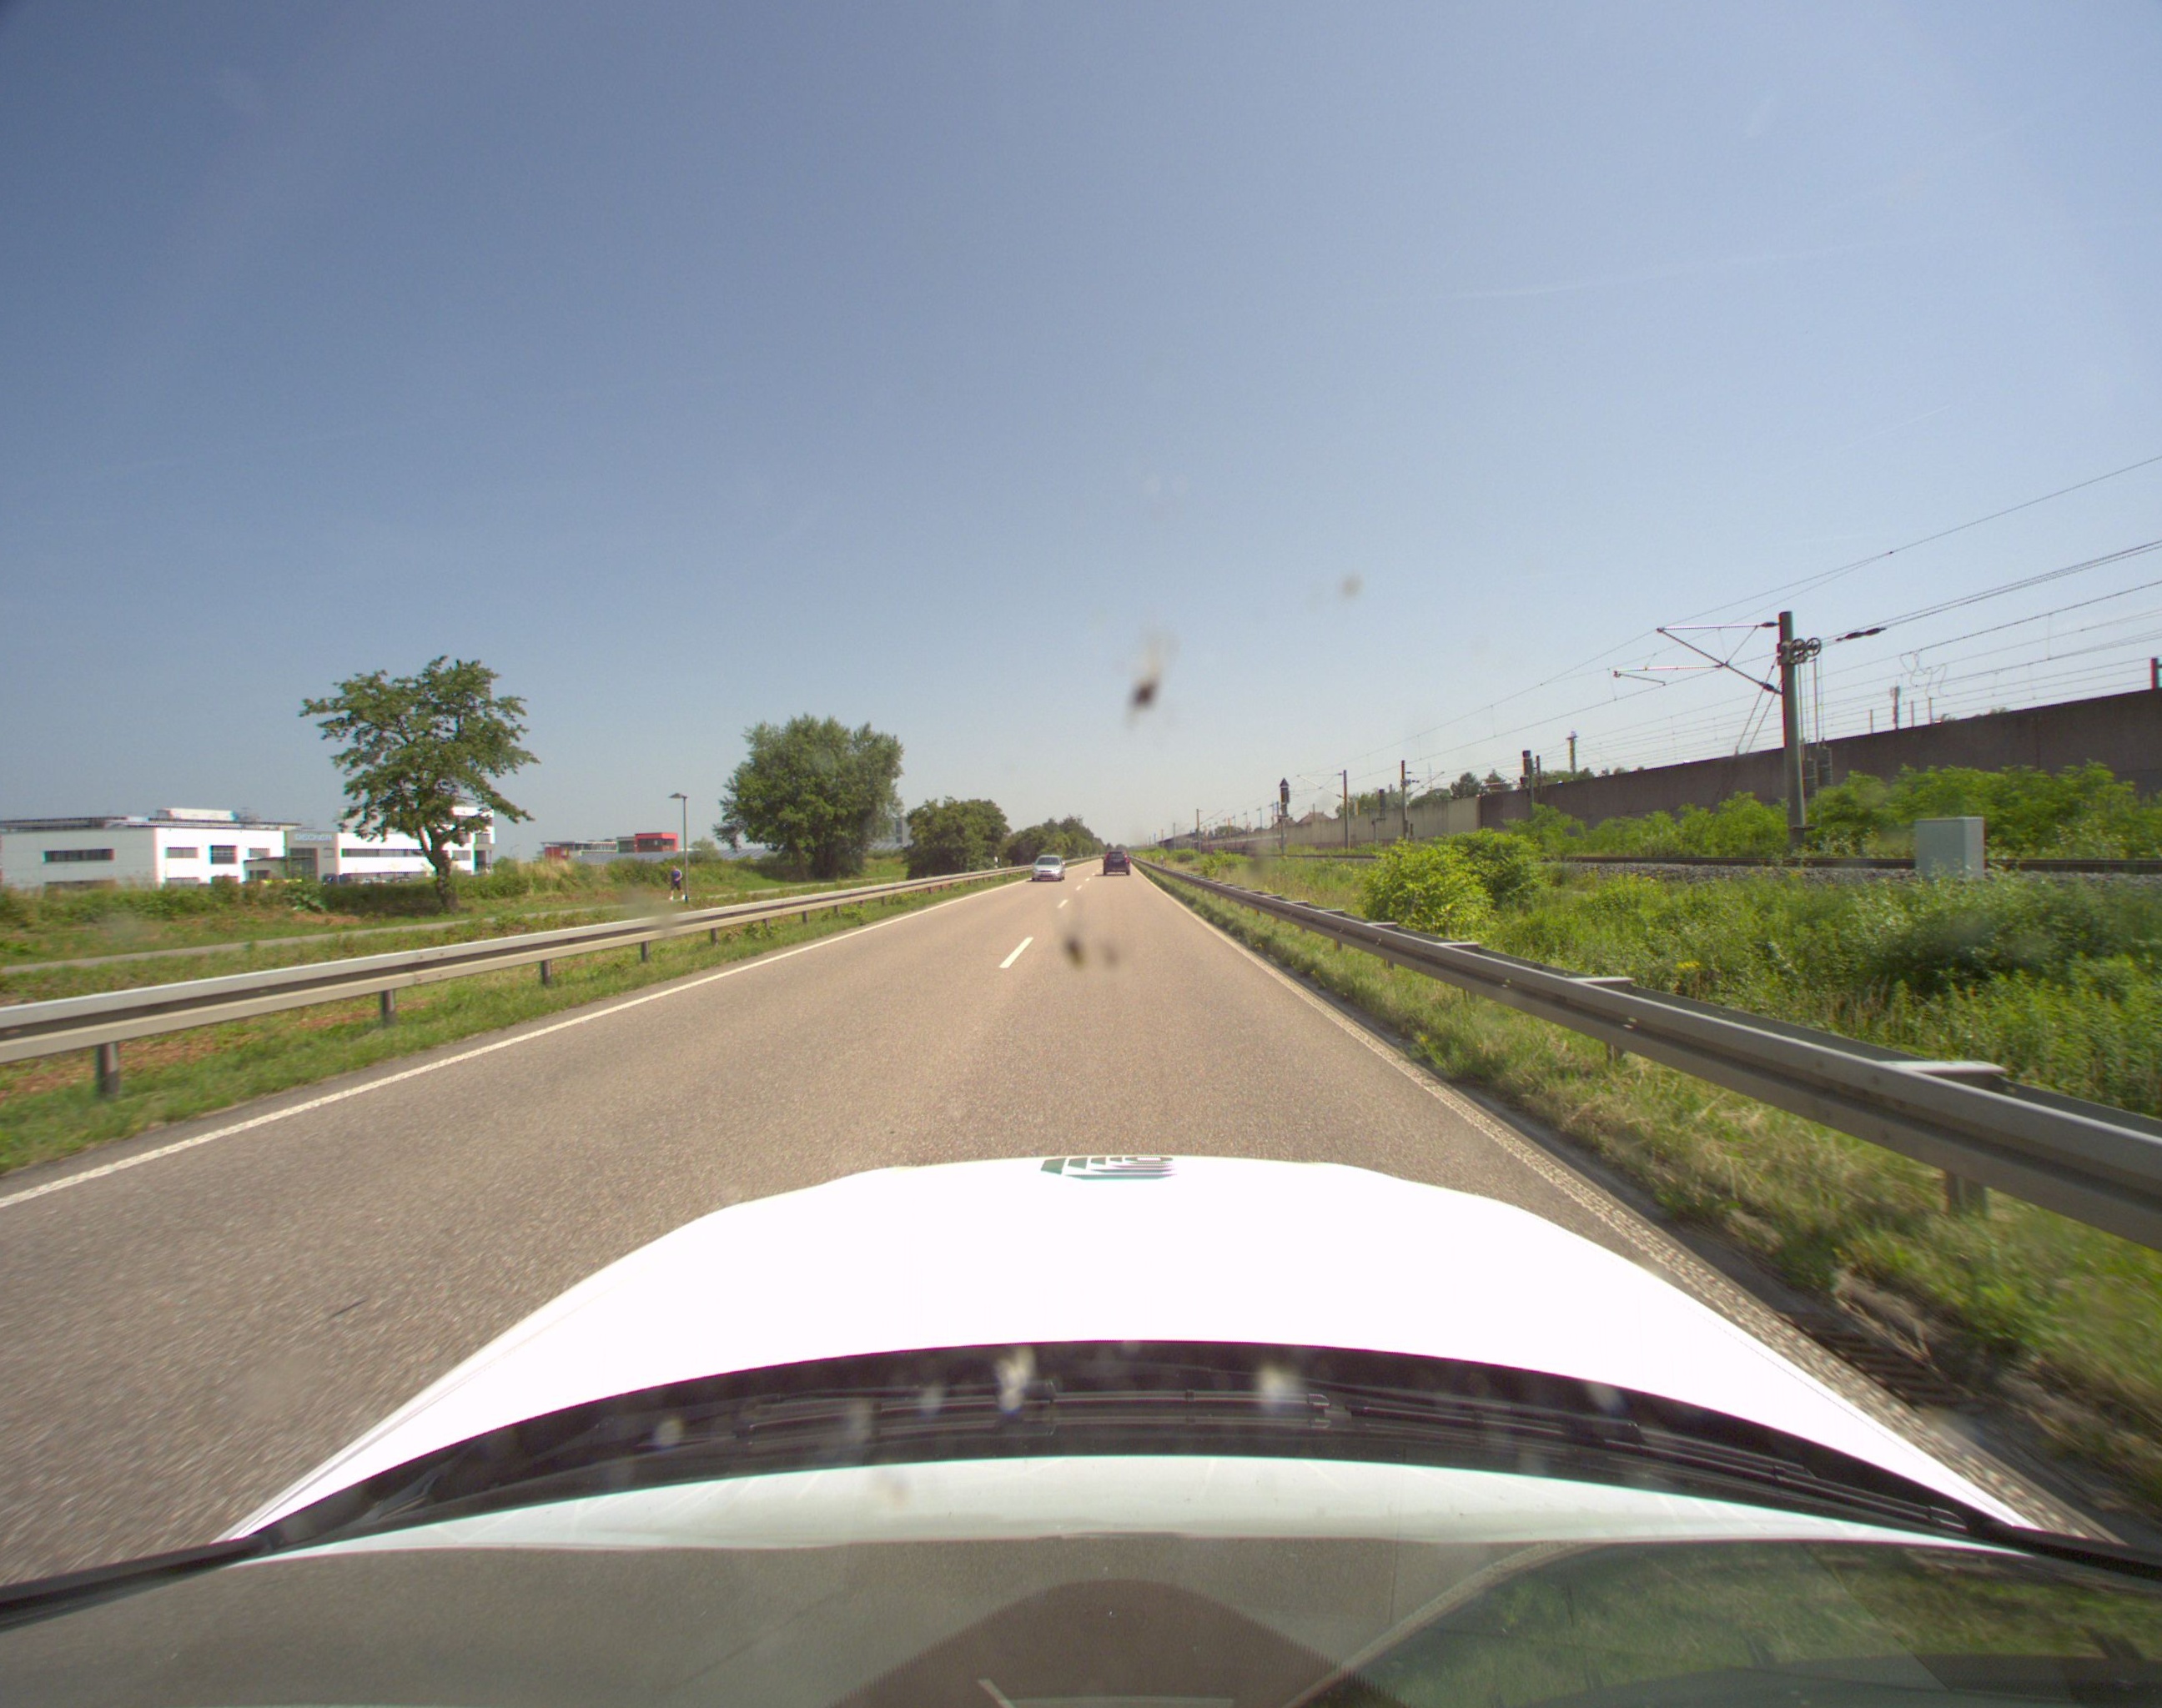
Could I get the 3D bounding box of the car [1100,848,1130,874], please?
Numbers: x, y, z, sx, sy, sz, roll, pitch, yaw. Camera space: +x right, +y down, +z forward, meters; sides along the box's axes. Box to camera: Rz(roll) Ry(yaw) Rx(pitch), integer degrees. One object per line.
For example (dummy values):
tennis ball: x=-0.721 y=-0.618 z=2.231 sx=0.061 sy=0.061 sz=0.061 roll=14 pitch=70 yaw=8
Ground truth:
car: x=2.368 y=0.497 z=57.445 sx=1.987 sy=1.700 sz=4.000 roll=-1 pitch=0 yaw=0

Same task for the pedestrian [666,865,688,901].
pedestrian: x=-20.481 y=1.466 z=41.326 sx=0.576 sy=1.750 sz=0.822 roll=-3 pitch=0 yaw=7

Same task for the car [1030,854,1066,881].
car: x=-1.871 y=0.733 z=47.389 sx=1.691 sy=1.474 sz=4.689 roll=0 pitch=0 yaw=2
